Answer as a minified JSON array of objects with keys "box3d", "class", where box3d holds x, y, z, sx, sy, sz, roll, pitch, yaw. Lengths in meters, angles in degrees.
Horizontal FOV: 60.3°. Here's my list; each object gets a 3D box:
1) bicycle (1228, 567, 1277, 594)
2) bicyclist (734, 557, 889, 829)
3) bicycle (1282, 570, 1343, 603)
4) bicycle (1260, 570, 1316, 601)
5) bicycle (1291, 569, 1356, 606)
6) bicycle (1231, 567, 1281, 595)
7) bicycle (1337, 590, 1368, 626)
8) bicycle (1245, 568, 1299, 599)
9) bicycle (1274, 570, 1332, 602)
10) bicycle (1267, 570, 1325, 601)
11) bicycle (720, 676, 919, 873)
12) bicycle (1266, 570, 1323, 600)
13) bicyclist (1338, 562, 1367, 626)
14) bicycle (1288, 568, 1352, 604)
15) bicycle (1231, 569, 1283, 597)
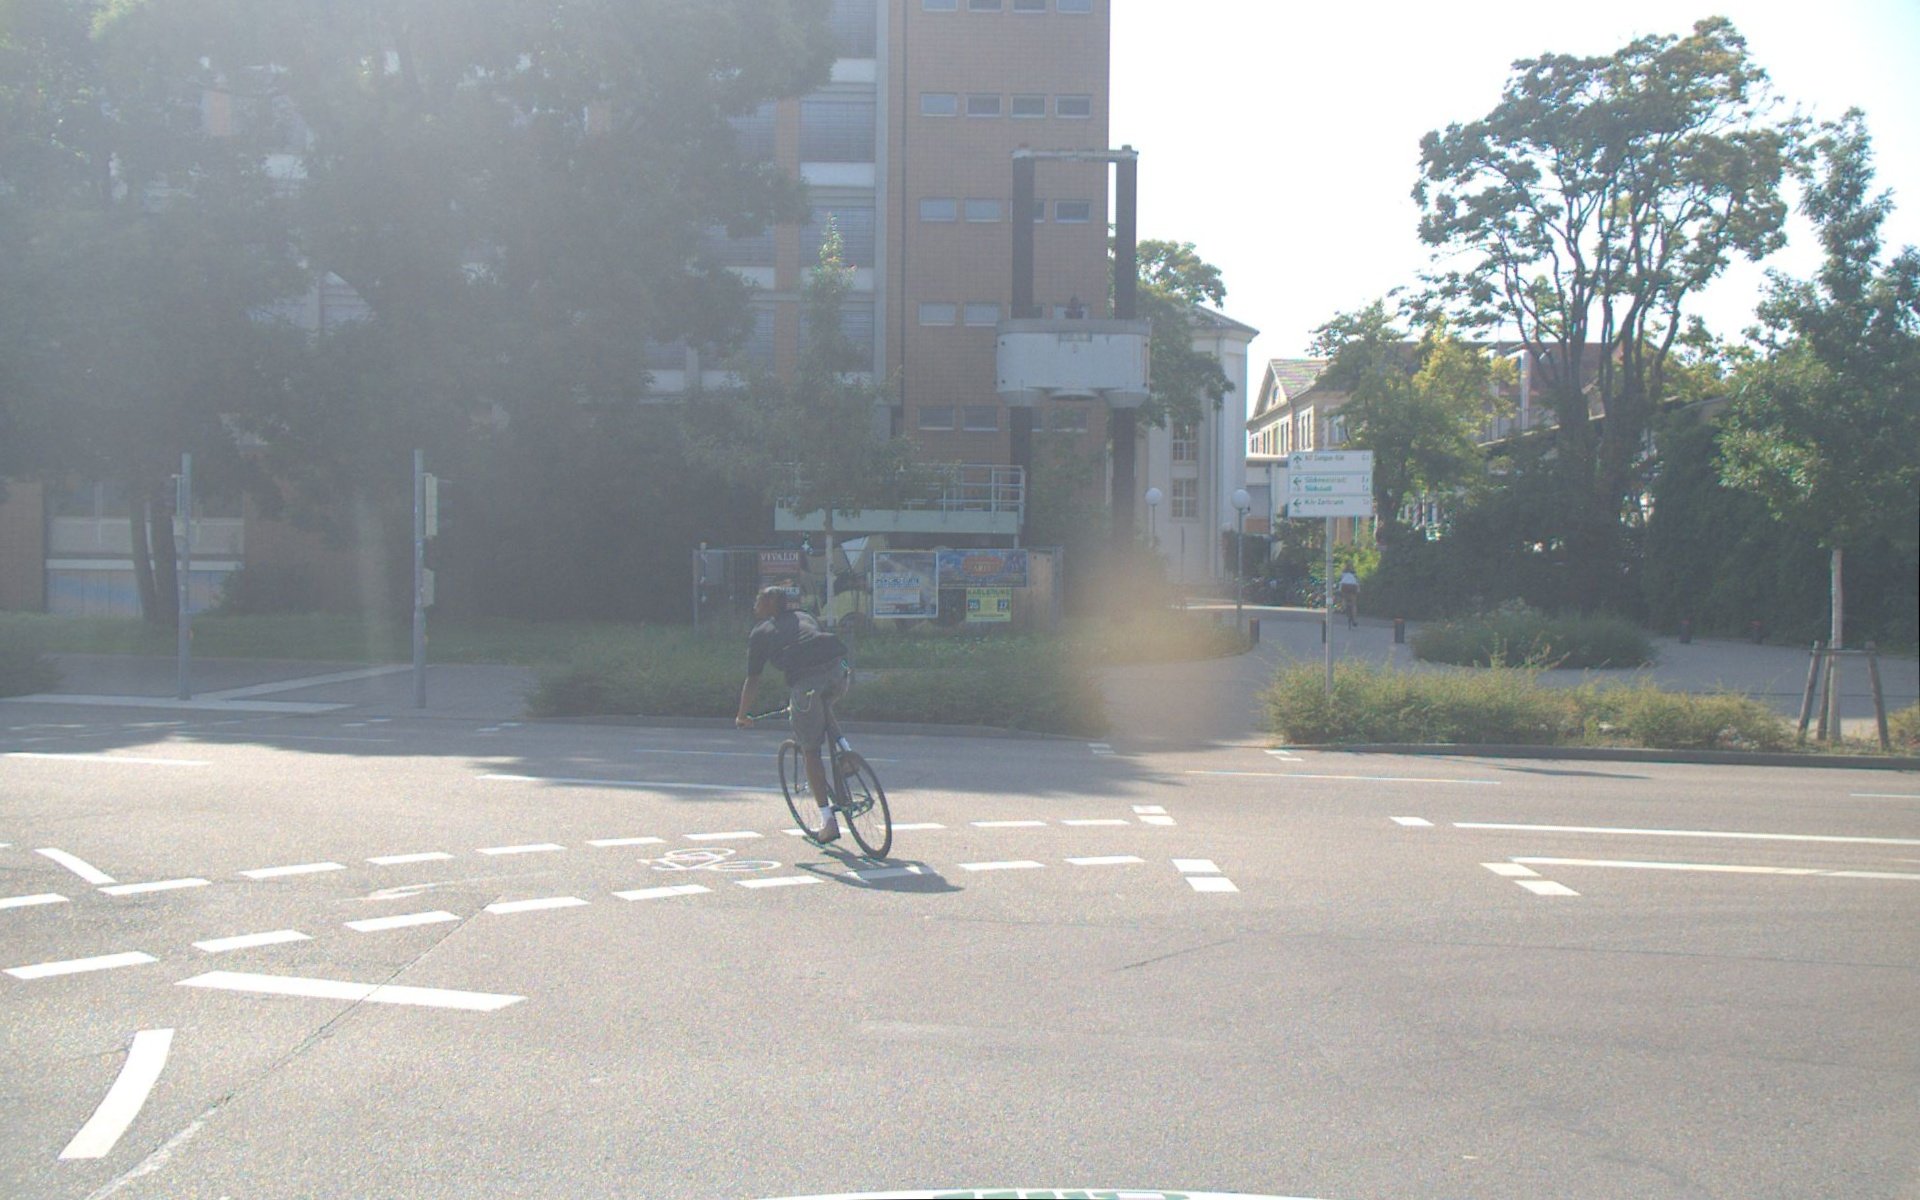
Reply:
[{"box3d":[14.876,-0.994,84.128,2.375,1.302,0.720,2,1,5],"class":"bicycle"},{"box3d":[-0.945,0.548,10.344,0.760,1.606,0.985,0,0,-19],"class":"bicyclist"},{"box3d":[14.562,-0.554,68.409,2.375,1.245,0.720,2,1,5],"class":"bicycle"},{"box3d":[14.891,-0.683,75.104,2.375,1.304,0.720,2,1,5],"class":"bicycle"},{"box3d":[14.227,-0.504,64.743,2.375,1.341,0.720,2,1,5],"class":"bicycle"},{"box3d":[14.892,-0.950,83.118,2.375,1.284,0.720,2,1,5],"class":"bicycle"},{"box3d":[10.122,0.193,42.634,0.659,0.895,1.402,0,1,9],"class":"bicycle"},{"box3d":[14.381,-0.764,76.255,2.375,1.304,0.720,2,1,5],"class":"bicycle"},{"box3d":[14.842,-0.615,71.588,2.375,1.255,0.720,2,1,5],"class":"bicycle"},{"box3d":[14.734,-0.642,72.478,2.375,1.261,0.720,2,1,5],"class":"bicycle"},{"box3d":[-0.932,1.021,10.341,0.760,0.993,2.138,0,0,-19],"class":"bicycle"},{"box3d":[14.853,-0.677,73.524,2.375,1.250,0.720,2,1,5],"class":"bicycle"},{"box3d":[10.107,-0.171,42.627,0.636,1.629,0.921,0,1,8],"class":"bicyclist"},{"box3d":[14.314,-0.551,65.876,2.375,1.341,0.720,2,1,5],"class":"bicycle"},{"box3d":[14.530,-0.836,80.967,2.375,1.304,0.720,2,1,5],"class":"bicycle"}]
